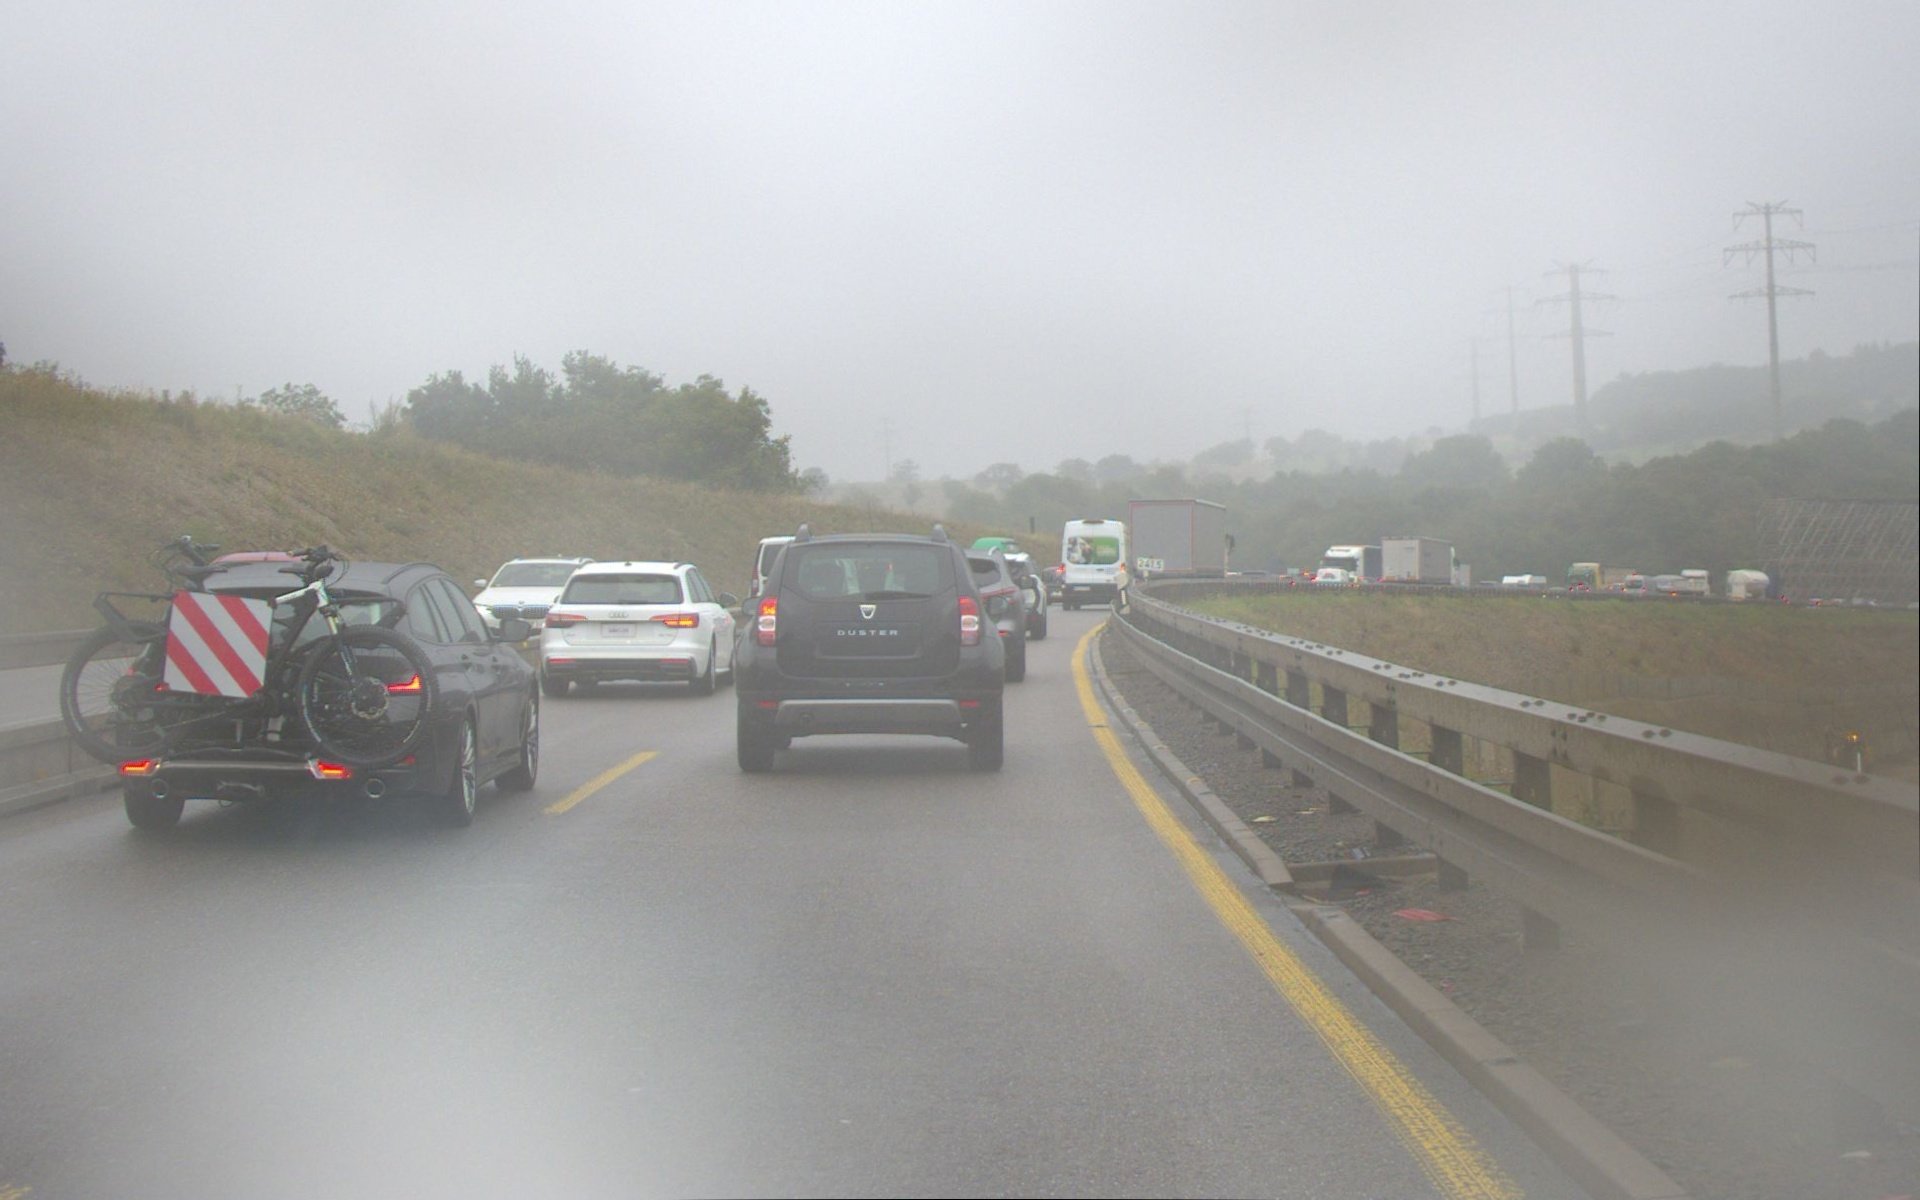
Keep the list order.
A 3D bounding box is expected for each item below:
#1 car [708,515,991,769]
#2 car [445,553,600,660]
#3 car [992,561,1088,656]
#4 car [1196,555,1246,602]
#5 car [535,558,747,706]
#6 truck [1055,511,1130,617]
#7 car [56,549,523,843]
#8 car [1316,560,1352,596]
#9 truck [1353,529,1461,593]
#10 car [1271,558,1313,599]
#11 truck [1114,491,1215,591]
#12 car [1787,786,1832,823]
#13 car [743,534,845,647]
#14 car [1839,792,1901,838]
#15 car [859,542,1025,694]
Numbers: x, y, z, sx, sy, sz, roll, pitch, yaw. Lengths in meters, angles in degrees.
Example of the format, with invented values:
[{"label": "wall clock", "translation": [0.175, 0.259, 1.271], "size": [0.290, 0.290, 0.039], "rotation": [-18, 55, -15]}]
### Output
[{"label": "car", "translation": [-0.701, 0.257, 24.135], "size": [1.804, 1.640, 3.776], "rotation": [0, 0, 1]}, {"label": "car", "translation": [-6.941, 0.081, 55.039], "size": [2.045, 1.627, 4.990], "rotation": [0, 0, -2]}, {"label": "car", "translation": [1.420, 0.126, 62.133], "size": [1.530, 1.635, 4.013], "rotation": [1, 1, -1]}, {"label": "car", "translation": [11.023, -0.902, 144.994], "size": [1.775, 1.909, 3.999], "rotation": [1, 1, 9]}, {"label": "car", "translation": [-3.384, 0.300, 37.238], "size": [1.867, 1.455, 4.549], "rotation": [1, 1, 0]}, {"label": "truck", "translation": [4.122, -1.137, 107.660], "size": [2.149, 3.155, 6.459], "rotation": [1, 1, 1]}, {"label": "car", "translation": [-3.616, 0.468, 19.188], "size": [1.829, 1.471, 3.776], "rotation": [0, 0, 1]}, {"label": "car", "translation": [20.684, -1.217, 190.222], "size": [1.775, 1.909, 3.999], "rotation": [1, 1, 9]}, {"label": "truck", "translation": [30.554, -2.617, 234.126], "size": [4.721, 4.135, 15.669], "rotation": [2, 1, 17]}, {"label": "car", "translation": [16.028, -1.036, 165.945], "size": [1.775, 1.909, 3.999], "rotation": [1, 1, 9]}, {"label": "truck", "translation": [8.103, -2.306, 135.374], "size": [3.201, 3.748, 8.506], "rotation": [1, 1, 8]}, {"label": "car", "translation": [47.564, 11.442, 192.609], "size": [1.994, 1.809, 3.999], "rotation": [1, 0, 8]}, {"label": "car", "translation": [-2.850, -0.185, 59.722], "size": [1.660, 1.873, 4.020], "rotation": [1, 1, -2]}, {"label": "car", "translation": [46.270, 10.923, 174.932], "size": [2.365, 2.007, 3.999], "rotation": [1, 1, 5]}, {"label": "car", "translation": [-0.202, 0.181, 41.199], "size": [1.867, 1.703, 4.000], "rotation": [1, 1, 0]}]
